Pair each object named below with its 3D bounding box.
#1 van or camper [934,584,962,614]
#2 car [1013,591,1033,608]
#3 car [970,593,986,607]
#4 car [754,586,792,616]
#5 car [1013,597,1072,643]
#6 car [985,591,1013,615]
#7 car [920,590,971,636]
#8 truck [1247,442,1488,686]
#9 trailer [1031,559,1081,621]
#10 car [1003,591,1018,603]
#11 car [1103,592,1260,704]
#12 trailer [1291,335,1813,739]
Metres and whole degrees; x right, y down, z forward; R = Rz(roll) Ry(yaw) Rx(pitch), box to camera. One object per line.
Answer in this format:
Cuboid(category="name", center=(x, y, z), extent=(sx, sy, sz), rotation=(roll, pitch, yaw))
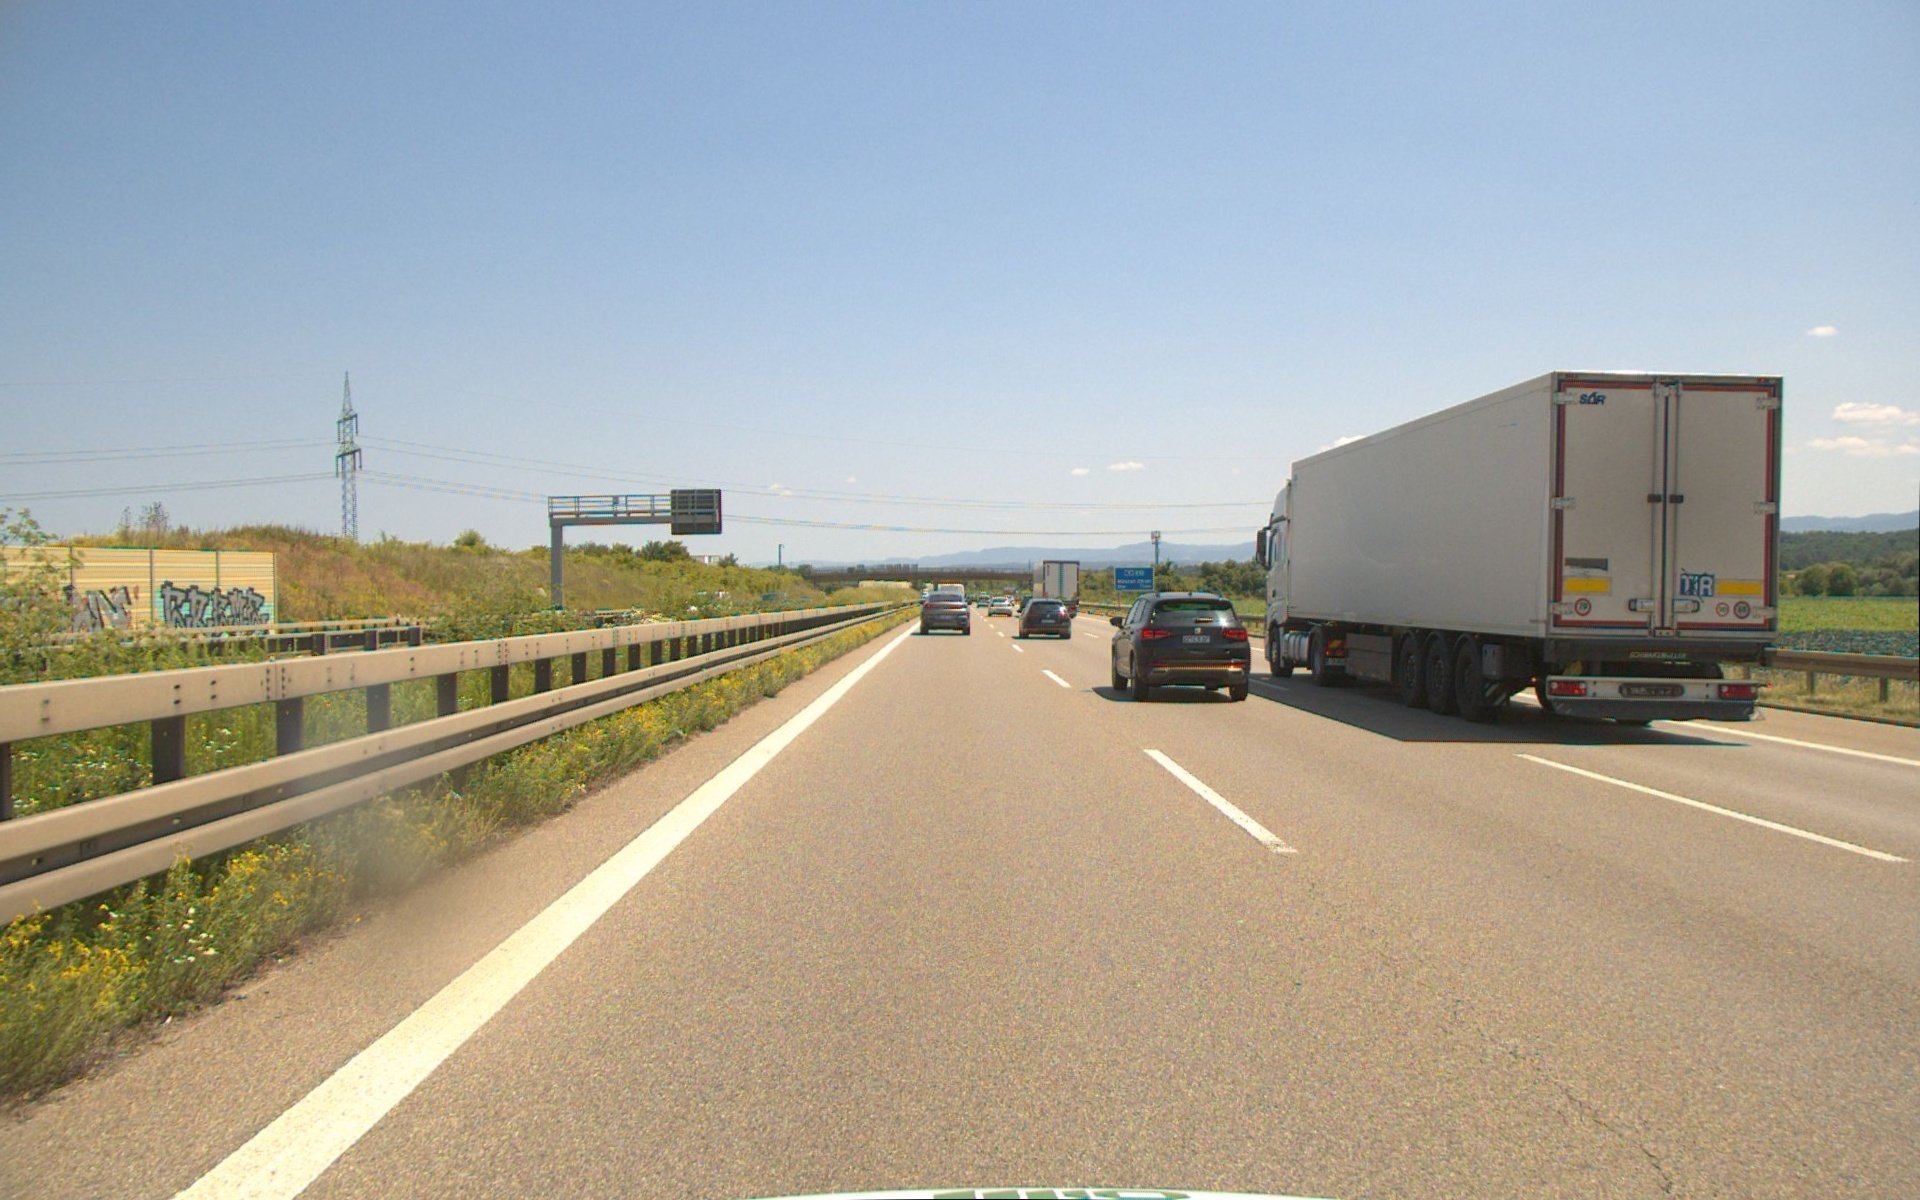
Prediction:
Cuboid(category="van or camper", center=(-0.895, -0.054, 127.462), extent=(2.067, 2.250, 5.265), rotation=(1, 0, 0))
Cuboid(category="car", center=(6.688, -0.021, 175.904), extent=(1.953, 1.712, 4.000), rotation=(1, 0, 0))
Cuboid(category="car", center=(2.270, -0.024, 210.343), extent=(1.953, 1.712, 4.000), rotation=(1, 0, 0))
Cuboid(category="car", center=(-13.357, 0.071, 118.459), extent=(1.953, 1.974, 5.854), rotation=(-3, 0, 0))
Cuboid(category="car", center=(3.025, 0.715, 61.753), extent=(1.894, 1.602, 4.934), rotation=(1, 0, 0))
Cuboid(category="car", center=(2.898, 0.223, 124.251), extent=(1.953, 1.712, 4.000), rotation=(1, 0, 0))
Cuboid(category="car", center=(-0.598, 0.502, 65.197), extent=(1.814, 1.693, 3.733), rotation=(1, 0, -3))
Cuboid(category="truck", center=(7.629, -0.613, 31.966), extent=(2.804, 4.163, 6.878), rotation=(1, 0, -1))
Cuboid(category="trailer", center=(6.985, -0.695, 121.689), extent=(2.883, 4.271, 13.596), rotation=(1, 0, 0))
Cuboid(category="car", center=(7.369, -0.367, 242.201), extent=(1.953, 1.712, 4.000), rotation=(1, 0, 0))
Cuboid(category="car", center=(3.388, 0.703, 25.933), extent=(1.761, 1.589, 3.821), rotation=(1, 0, -3))
Cuboid(category="trailer", center=(7.714, -0.662, 24.461), extent=(2.809, 4.294, 13.292), rotation=(1, 0, -1))
